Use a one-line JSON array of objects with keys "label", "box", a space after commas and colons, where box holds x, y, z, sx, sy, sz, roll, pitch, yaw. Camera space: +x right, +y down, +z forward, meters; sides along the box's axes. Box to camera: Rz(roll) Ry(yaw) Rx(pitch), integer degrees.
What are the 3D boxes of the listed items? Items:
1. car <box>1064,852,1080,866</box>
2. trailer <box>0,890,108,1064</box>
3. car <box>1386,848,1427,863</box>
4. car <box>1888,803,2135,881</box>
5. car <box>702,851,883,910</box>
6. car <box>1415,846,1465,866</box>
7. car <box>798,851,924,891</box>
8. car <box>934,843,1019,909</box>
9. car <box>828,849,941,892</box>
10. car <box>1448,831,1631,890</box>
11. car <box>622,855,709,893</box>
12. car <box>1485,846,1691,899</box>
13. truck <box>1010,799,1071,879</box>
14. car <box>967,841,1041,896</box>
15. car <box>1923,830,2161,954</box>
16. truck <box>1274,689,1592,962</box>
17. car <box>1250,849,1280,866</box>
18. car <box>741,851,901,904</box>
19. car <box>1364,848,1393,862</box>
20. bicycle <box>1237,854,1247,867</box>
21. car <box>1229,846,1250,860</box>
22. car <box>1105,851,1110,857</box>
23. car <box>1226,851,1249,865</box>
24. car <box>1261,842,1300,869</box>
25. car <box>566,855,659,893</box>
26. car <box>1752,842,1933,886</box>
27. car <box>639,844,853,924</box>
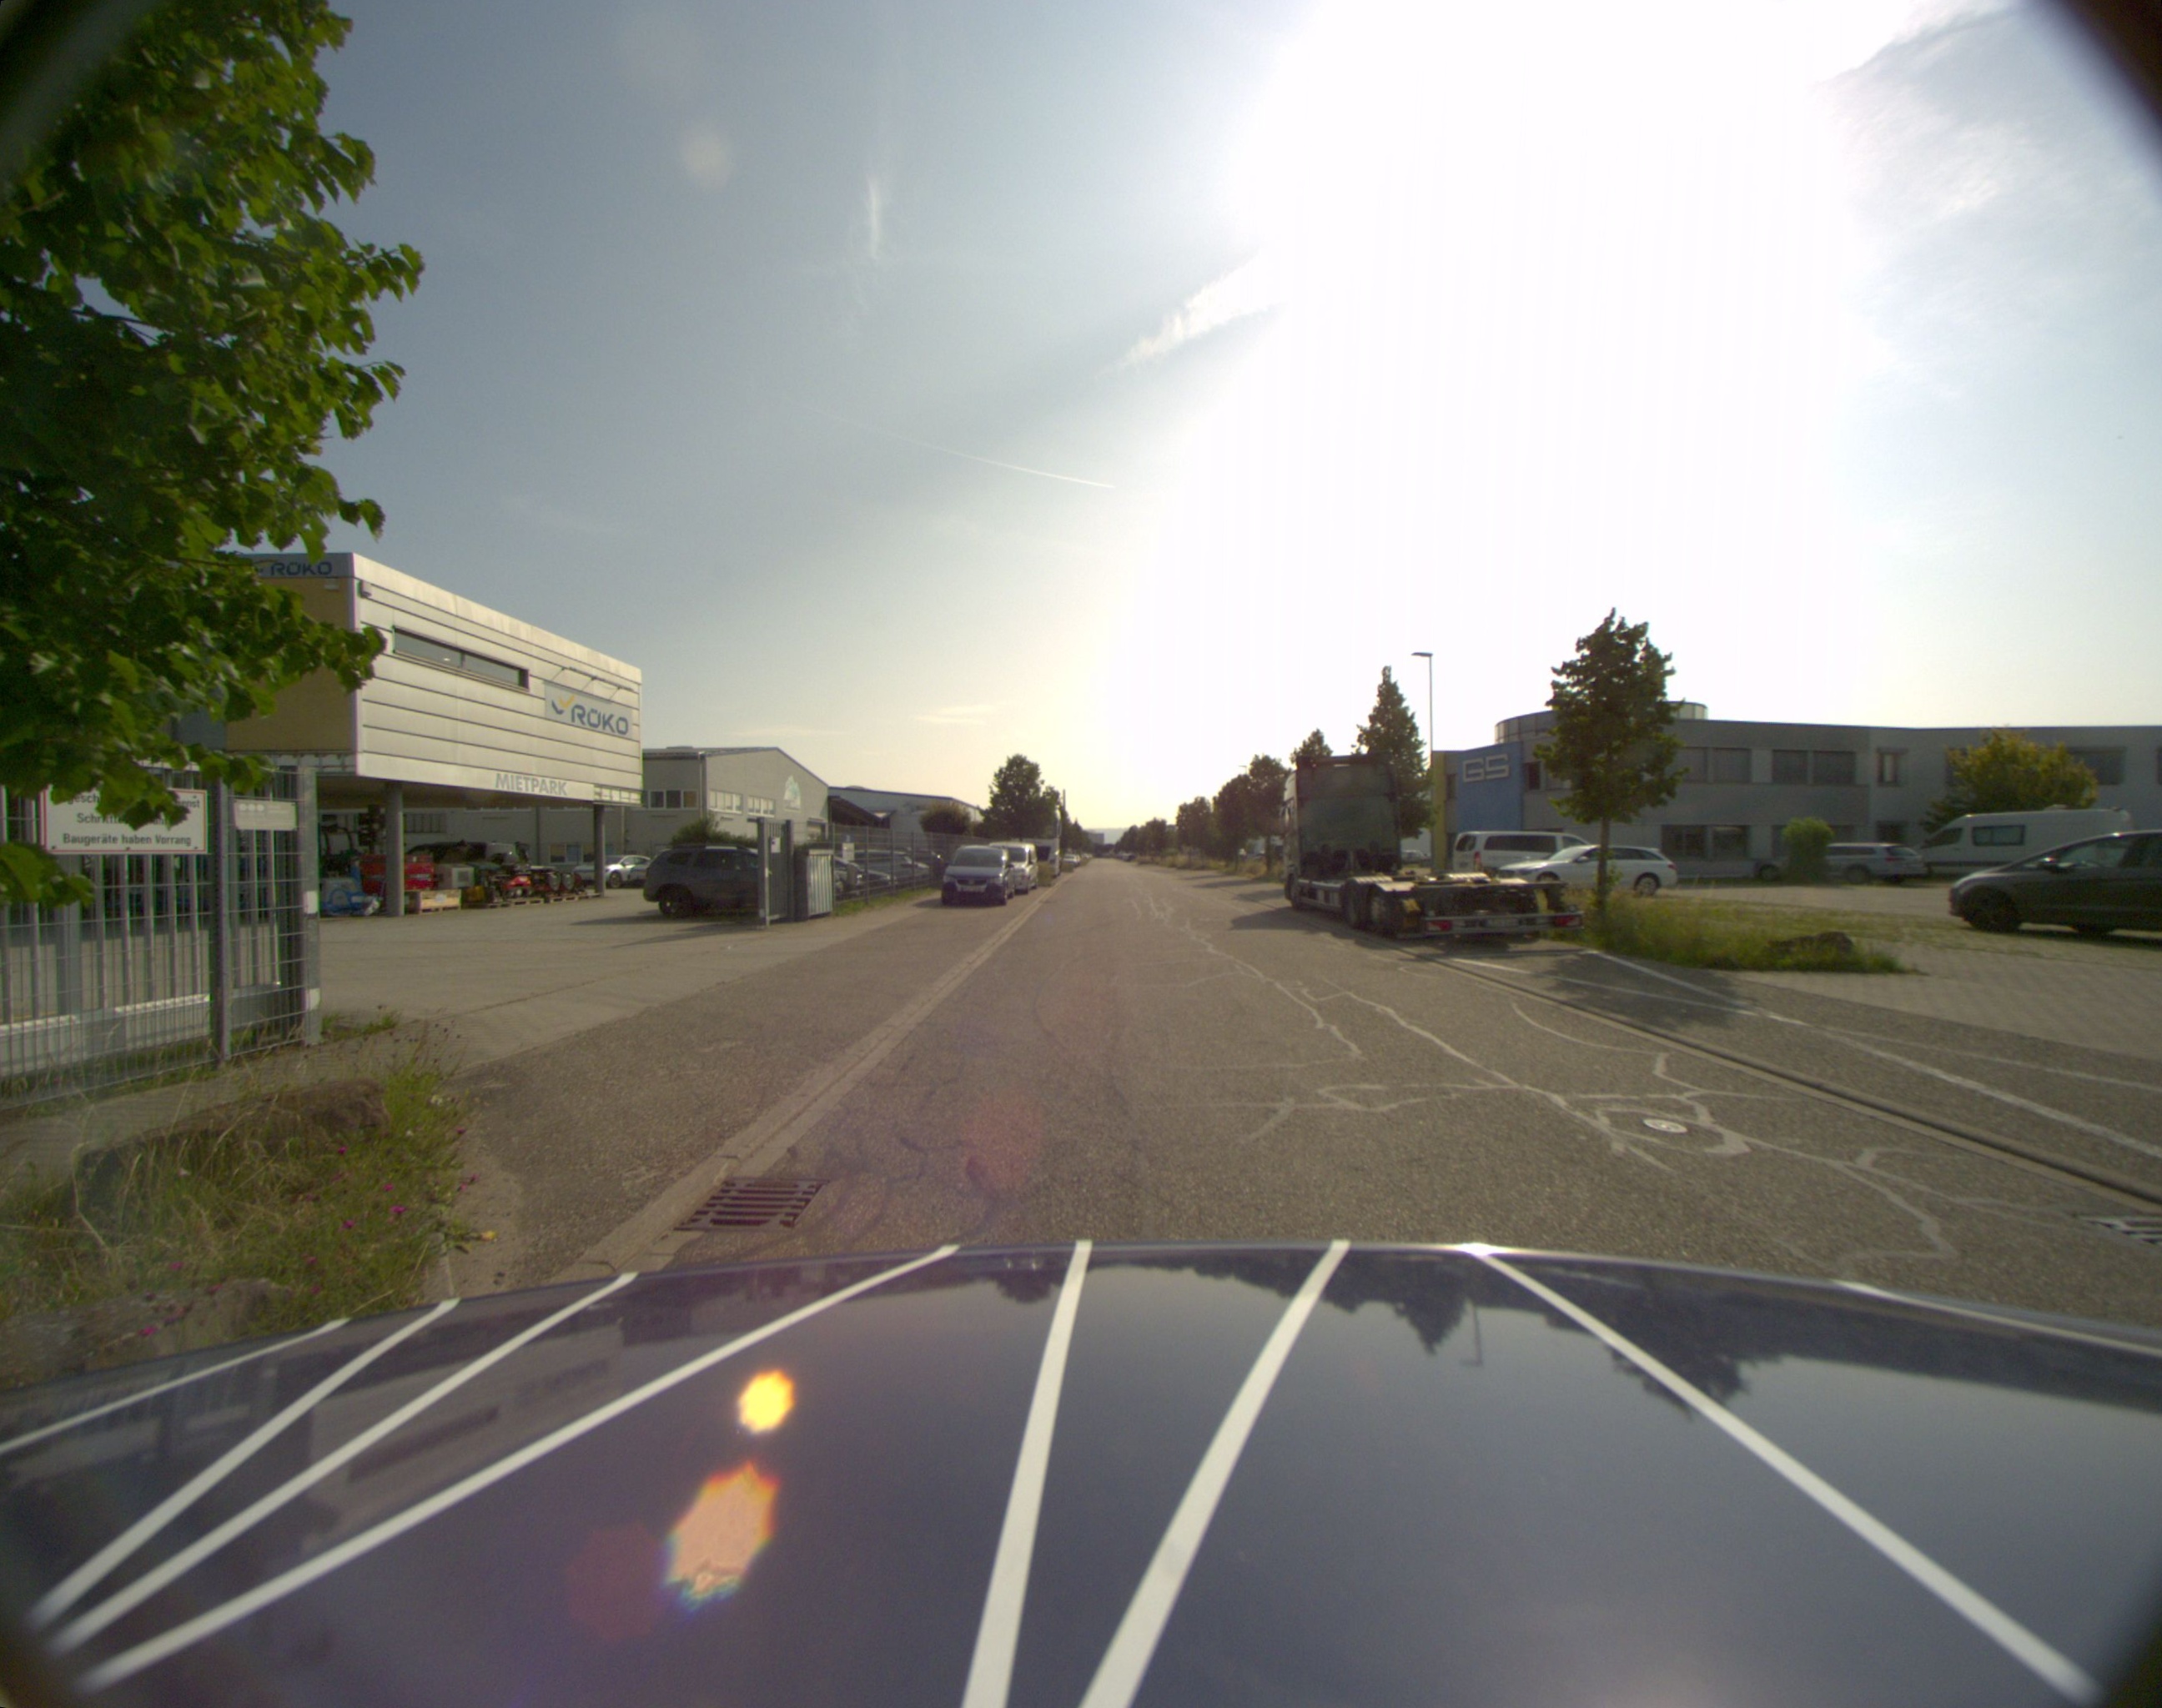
[{"label": "car", "box": [-1.052, 0.574, 85.961, 1.668, 1.495, 3.541, 1, 0, 1]}, {"label": "trailer", "box": [-9.436, 1.023, 4.239, 1.998, 1.303, 4.563, -1, 1, 3]}, {"label": "car", "box": [29.735, 0.129, 69.468, 1.736, 1.364, 4.381, -1, 0, -2]}, {"label": "car", "box": [35.206, -0.464, 29.086, 1.712, 2.679, 5.743, -1, 1, -15]}, {"label": "car", "box": [-7.778, 0.702, 20.827, 4.236, 1.487, 1.899, -1, 0, -2]}, {"label": "car", "box": [27.963, 0.165, 59.320, 1.719, 1.452, 4.782, -1, 0, 1]}, {"label": "car", "box": [-7.746, 0.586, 27.044, 3.998, 1.363, 1.790, 0, 0, -3]}, {"label": "car", "box": [-2.948, 0.558, 22.280, 1.830, 1.710, 4.248, -1, 1, 0]}, {"label": "car", "box": [-7.666, 0.617, 29.929, 3.998, 1.469, 1.790, -2, 1, -3]}, {"label": "car", "box": [14.931, 0.195, 24.978, 4.715, 1.825, 2.103, 0, 0, 2]}, {"label": "car", "box": [-19.653, 0.893, 36.172, 1.894, 1.681, 4.369, -1, 0, -3]}, {"label": "car", "box": [14.761, 0.509, 22.324, 4.738, 1.423, 2.000, -1, 1, 0]}, {"label": "truck", "box": [-2.124, -0.759, 43.513, 2.752, 3.991, 9.686, 1, 0, 1]}, {"label": "car", "box": [-2.658, 0.441, 27.441, 1.998, 1.779, 4.599, -1, 1, 2]}, {"label": "car", "box": [15.713, 0.514, 10.926, 1.998, 1.677, 4.698, 0, 0, 0]}, {"label": "truck", "box": [6.357, -0.481, 15.946, 2.461, 3.859, 9.802, -2, 1, 3]}, {"label": "car", "box": [16.865, 0.310, 69.672, 1.790, 1.441, 3.918, -1, 0, 0]}, {"label": "car", "box": [-7.796, 0.686, 23.111, 4.236, 1.487, 1.899, -1, 0, -2]}, {"label": "car", "box": [31.618, 0.087, 80.834, 1.758, 1.459, 3.919, -1, 0, 3]}, {"label": "bicycle", "box": [12.752, 0.518, 60.074, 0.541, 0.973, 1.871, -1, 0, 5]}, {"label": "car", "box": [21.270, -0.107, 101.992, 1.998, 1.827, 4.696, -1, 0, 3]}, {"label": "car", "box": [8.137, 0.014, 233.798, 1.668, 1.495, 3.540, -1, 1, 1]}, {"label": "car", "box": [16.834, 0.397, 81.929, 1.758, 1.401, 3.919, -1, 0, 3]}, {"label": "car", "box": [15.465, 0.148, 59.180, 1.886, 2.002, 4.991, 0, 0, 1]}, {"label": "car", "box": [-22.217, 0.885, 36.230, 1.894, 1.681, 4.369, -1, 0, -3]}, {"label": "car", "box": [27.788, 0.298, 27.977, 1.580, 1.473, 4.518, -1, 1, -14]}, {"label": "car", "box": [-7.817, 0.660, 18.096, 4.237, 1.727, 1.898, -1, 1, -6]}]
